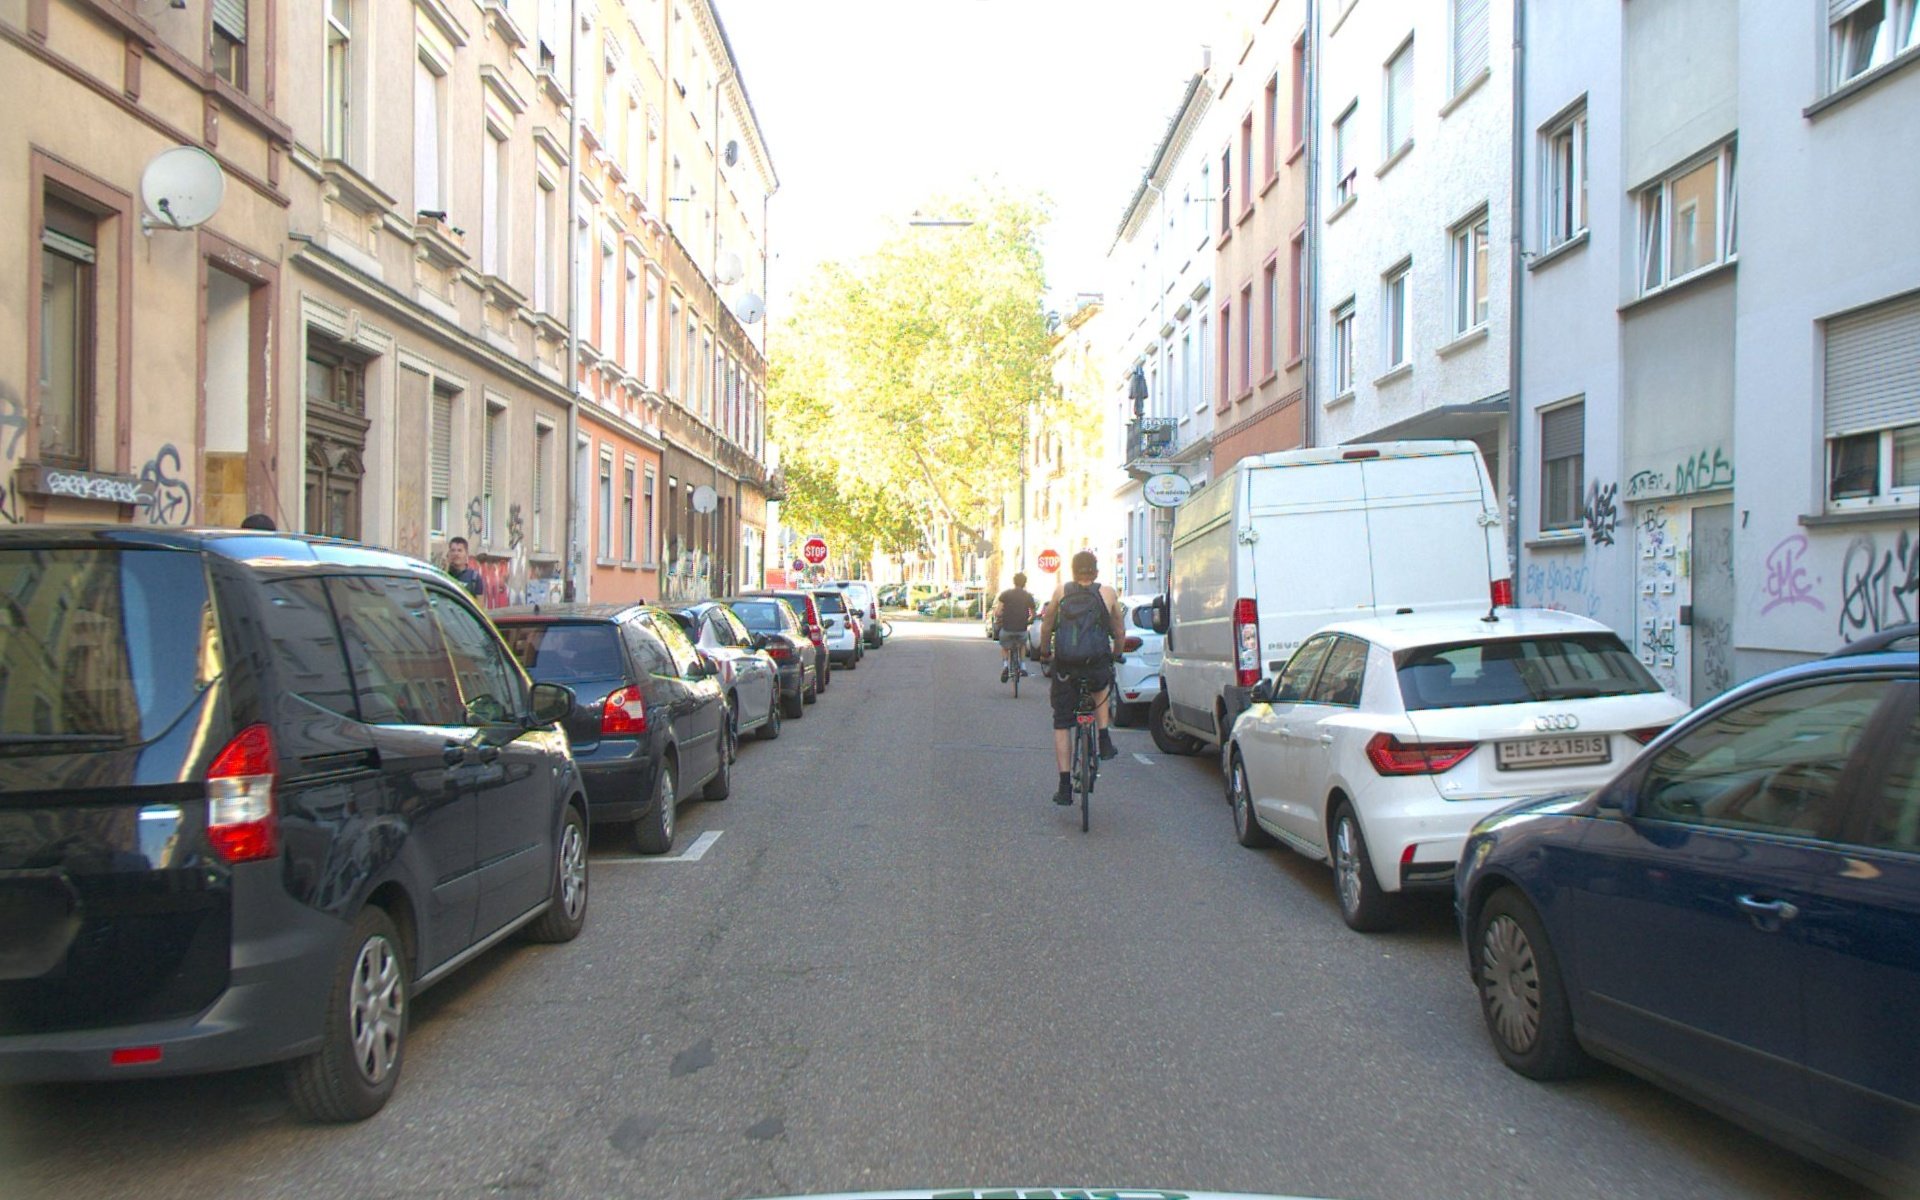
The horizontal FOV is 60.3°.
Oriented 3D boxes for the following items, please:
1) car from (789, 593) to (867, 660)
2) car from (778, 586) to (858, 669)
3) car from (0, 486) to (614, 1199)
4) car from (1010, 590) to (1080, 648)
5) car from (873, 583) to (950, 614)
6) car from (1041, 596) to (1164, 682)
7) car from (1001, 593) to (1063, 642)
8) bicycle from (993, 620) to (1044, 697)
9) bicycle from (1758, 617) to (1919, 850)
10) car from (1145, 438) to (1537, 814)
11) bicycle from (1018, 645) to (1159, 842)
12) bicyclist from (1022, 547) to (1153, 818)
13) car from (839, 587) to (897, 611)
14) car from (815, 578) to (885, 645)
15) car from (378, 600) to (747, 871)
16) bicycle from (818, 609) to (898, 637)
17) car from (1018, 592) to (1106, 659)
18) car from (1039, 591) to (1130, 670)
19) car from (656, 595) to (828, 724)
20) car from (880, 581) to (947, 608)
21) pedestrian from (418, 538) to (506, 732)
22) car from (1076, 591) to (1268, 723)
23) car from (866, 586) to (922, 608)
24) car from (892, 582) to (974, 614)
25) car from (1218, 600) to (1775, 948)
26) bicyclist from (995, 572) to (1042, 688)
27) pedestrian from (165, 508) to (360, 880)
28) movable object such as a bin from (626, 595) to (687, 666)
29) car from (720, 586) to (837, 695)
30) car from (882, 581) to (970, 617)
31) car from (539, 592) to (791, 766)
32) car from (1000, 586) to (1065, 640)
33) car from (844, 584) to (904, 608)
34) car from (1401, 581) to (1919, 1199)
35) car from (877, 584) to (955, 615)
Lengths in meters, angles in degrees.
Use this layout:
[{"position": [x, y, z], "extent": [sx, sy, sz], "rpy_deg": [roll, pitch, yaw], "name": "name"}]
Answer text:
[{"position": [-2.916, 0.559, 37.096], "extent": [1.521, 1.424, 3.667], "rpy_deg": [0, 0, -1], "name": "car"}, {"position": [-2.824, 0.515, 33.333], "extent": [1.514, 1.578, 3.462], "rpy_deg": [0, 0, -4], "name": "car"}, {"position": [-2.543, 0.611, 5.988], "extent": [1.764, 1.728, 3.999], "rpy_deg": [-2, 0, -1], "name": "car"}, {"position": [2.350, 0.505, 46.363], "extent": [1.619, 1.557, 3.573], "rpy_deg": [0, 0, -3], "name": "car"}, {"position": [-2.859, -0.094, 96.605], "extent": [4.382, 1.725, 1.864], "rpy_deg": [0, 0, -5], "name": "car"}, {"position": [2.397, 0.624, 28.707], "extent": [1.624, 1.361, 3.998], "rpy_deg": [0, 0, -3], "name": "car"}, {"position": [2.230, 0.521, 51.936], "extent": [1.653, 1.497, 3.573], "rpy_deg": [0, 0, -3], "name": "car"}, {"position": [0.855, 0.849, 24.609], "extent": [0.650, 1.055, 1.958], "rpy_deg": [0, 0, -1], "name": "bicycle"}, {"position": [5.395, 0.724, 9.300], "extent": [0.615, 1.179, 2.352], "rpy_deg": [-3, 0, -1], "name": "bicycle"}, {"position": [2.974, 0.159, 14.481], "extent": [2.159, 2.595, 6.037], "rpy_deg": [0, 0, 1], "name": "car"}, {"position": [0.826, 0.909, 11.180], "extent": [0.725, 1.120, 2.041], "rpy_deg": [2, 0, -1], "name": "bicycle"}, {"position": [0.834, 0.522, 11.105], "extent": [0.725, 1.708, 1.116], "rpy_deg": [2, 0, -1], "name": "bicyclist"}, {"position": [-6.994, -0.086, 125.302], "extent": [4.382, 1.725, 1.864], "rpy_deg": [0, 0, -5], "name": "car"}, {"position": [-2.993, 0.296, 45.532], "extent": [1.751, 1.767, 3.875], "rpy_deg": [0, 0, -1], "name": "car"}, {"position": [-2.429, 0.746, 10.969], "extent": [1.559, 1.465, 3.653], "rpy_deg": [0, 0, 0], "name": "car"}, {"position": [-3.394, 0.767, 55.072], "extent": [2.662, 0.907, 0.618], "rpy_deg": [0, 0, -4], "name": "bicycle"}, {"position": [2.378, 0.561, 39.256], "extent": [1.676, 1.496, 3.998], "rpy_deg": [0, 0, -3], "name": "car"}, {"position": [2.492, 0.577, 33.801], "extent": [1.559, 1.518, 3.875], "rpy_deg": [0, 0, 0], "name": "car"}, {"position": [-2.658, 0.670, 21.001], "extent": [1.671, 1.438, 4.301], "rpy_deg": [0, 0, -1], "name": "car"}, {"position": [-3.096, -0.371, 109.827], "extent": [4.382, 1.725, 1.864], "rpy_deg": [0, 0, -5], "name": "car"}, {"position": [-5.025, 0.345, 16.724], "extent": [0.598, 1.890, 0.754], "rpy_deg": [2, 0, -2], "name": "pedestrian"}, {"position": [2.580, 0.640, 21.005], "extent": [1.697, 1.496, 4.018], "rpy_deg": [0, 0, -3], "name": "car"}, {"position": [-5.308, -0.229, 132.198], "extent": [4.382, 1.725, 1.864], "rpy_deg": [0, 0, -5], "name": "car"}, {"position": [-1.488, -0.102, 90.002], "extent": [4.382, 1.725, 1.864], "rpy_deg": [0, 0, -5], "name": "car"}, {"position": [2.614, 0.743, 9.032], "extent": [1.690, 1.454, 3.831], "rpy_deg": [0, 0, -2], "name": "car"}, {"position": [0.863, 0.435, 24.489], "extent": [0.656, 1.687, 0.877], "rpy_deg": [0, 0, -1], "name": "bicyclist"}, {"position": [-3.647, 0.471, 8.704], "extent": [0.637, 1.849, 0.754], "rpy_deg": [2, 0, 0], "name": "pedestrian"}, {"position": [-5.232, 0.522, 28.543], "extent": [0.817, 1.146, 0.716], "rpy_deg": [-4, 0, 1], "name": "movable object such as a bin"}, {"position": [-2.787, 0.582, 25.958], "extent": [1.572, 1.556, 3.377], "rpy_deg": [-1, 0, -3], "name": "car"}, {"position": [-1.753, -0.045, 84.899], "extent": [4.382, 1.790, 1.864], "rpy_deg": [0, 0, -5], "name": "car"}, {"position": [-2.697, 0.659, 15.940], "extent": [1.639, 1.455, 3.889], "rpy_deg": [0, 0, 1], "name": "car"}, {"position": [2.460, 0.415, 57.069], "extent": [1.855, 1.800, 3.998], "rpy_deg": [0, 0, -3], "name": "car"}, {"position": [-6.424, -0.311, 122.779], "extent": [4.382, 1.725, 1.864], "rpy_deg": [0, 0, -5], "name": "car"}, {"position": [2.926, 0.757, 3.994], "extent": [1.778, 1.503, 4.597], "rpy_deg": [-3, 1, -10], "name": "car"}, {"position": [-2.519, -0.027, 94.105], "extent": [4.382, 1.725, 1.864], "rpy_deg": [0, 0, -5], "name": "car"}]
